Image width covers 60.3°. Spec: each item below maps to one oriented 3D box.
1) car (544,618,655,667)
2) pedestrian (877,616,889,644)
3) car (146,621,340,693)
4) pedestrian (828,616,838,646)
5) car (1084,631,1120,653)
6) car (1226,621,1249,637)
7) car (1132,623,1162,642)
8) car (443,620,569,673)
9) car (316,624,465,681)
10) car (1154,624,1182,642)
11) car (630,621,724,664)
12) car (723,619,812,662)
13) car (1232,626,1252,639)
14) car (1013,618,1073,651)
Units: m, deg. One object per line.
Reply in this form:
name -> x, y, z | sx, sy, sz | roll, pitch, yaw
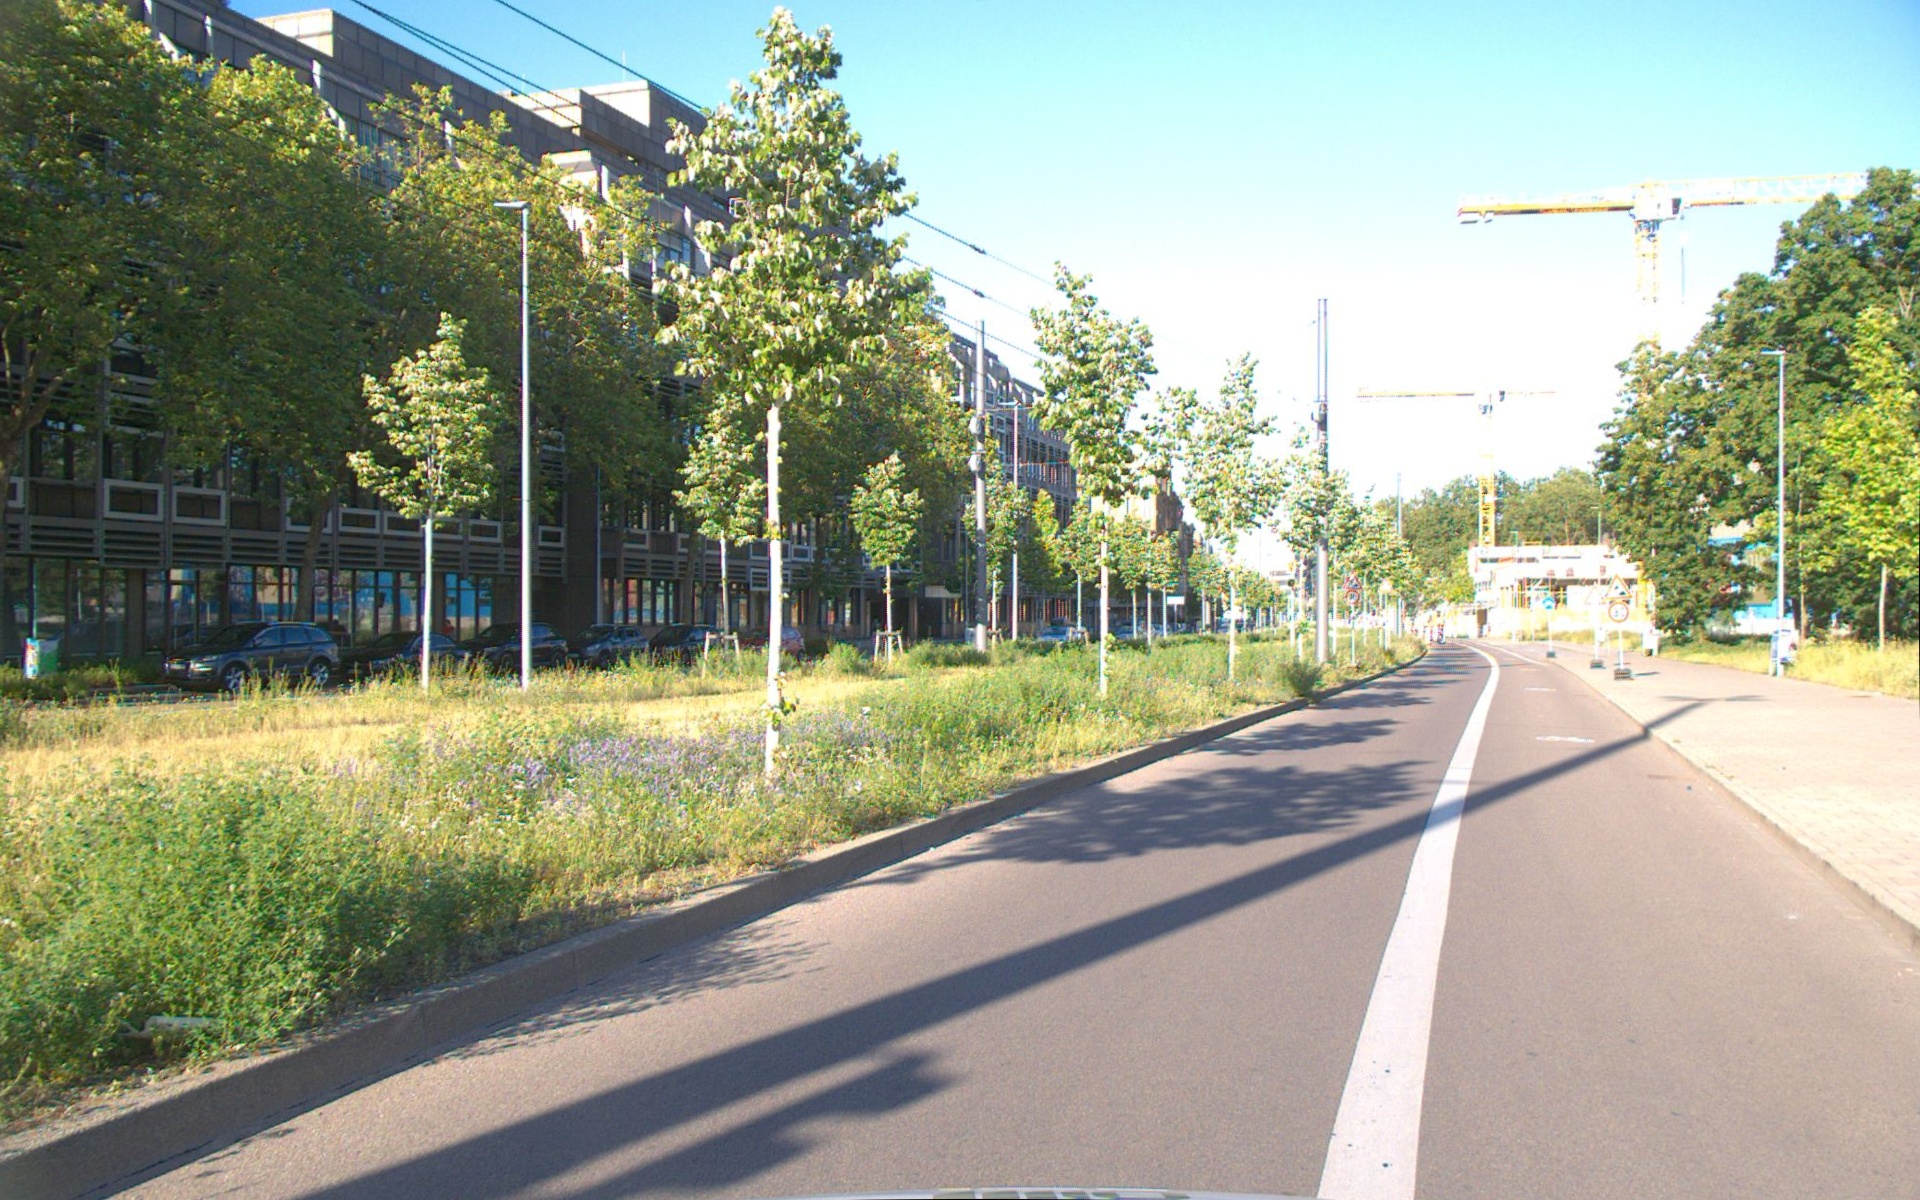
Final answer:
car -> -13.018, 1.517, 59.978 | 1.871, 1.661, 4.362 | -2, -2, 20
pedestrian -> -4.222, 1.660, 90.975 | 0.650, 1.559, 0.649 | 0, -1, 0
car -> -18.523, 1.445, 43.009 | 1.951, 1.709, 4.871 | 1, -1, 16
pedestrian -> -6.973, 1.699, 90.646 | 0.400, 1.589, 0.447 | 0, -1, 19
car -> 10.685, 3.108, 124.395 | 1.863, 1.603, 4.303 | 0, -1, 17
car -> 29.541, 3.083, 176.193 | 1.863, 1.603, 4.412 | 0, -1, 17
car -> 15.830, 2.738, 139.801 | 1.863, 1.603, 4.303 | 0, -1, 17
car -> -14.720, 1.487, 53.876 | 1.707, 1.584, 4.625 | 1, -1, 17
car -> -16.580, 1.502, 48.336 | 1.953, 1.547, 3.999 | 1, -1, 22
car -> 19.261, 3.028, 152.986 | 1.863, 1.603, 4.303 | 0, -1, 17
car -> -11.085, 1.656, 65.038 | 1.822, 1.624, 4.278 | -1, -1, 19
car -> -7.061, 1.485, 60.975 | 1.676, 1.478, 3.575 | -3, -2, 22
car -> 34.218, 3.913, 200.848 | 1.863, 1.603, 4.303 | 0, -1, 17
car -> 4.383, 1.767, 86.731 | 1.802, 1.622, 4.694 | -2, -1, 20
